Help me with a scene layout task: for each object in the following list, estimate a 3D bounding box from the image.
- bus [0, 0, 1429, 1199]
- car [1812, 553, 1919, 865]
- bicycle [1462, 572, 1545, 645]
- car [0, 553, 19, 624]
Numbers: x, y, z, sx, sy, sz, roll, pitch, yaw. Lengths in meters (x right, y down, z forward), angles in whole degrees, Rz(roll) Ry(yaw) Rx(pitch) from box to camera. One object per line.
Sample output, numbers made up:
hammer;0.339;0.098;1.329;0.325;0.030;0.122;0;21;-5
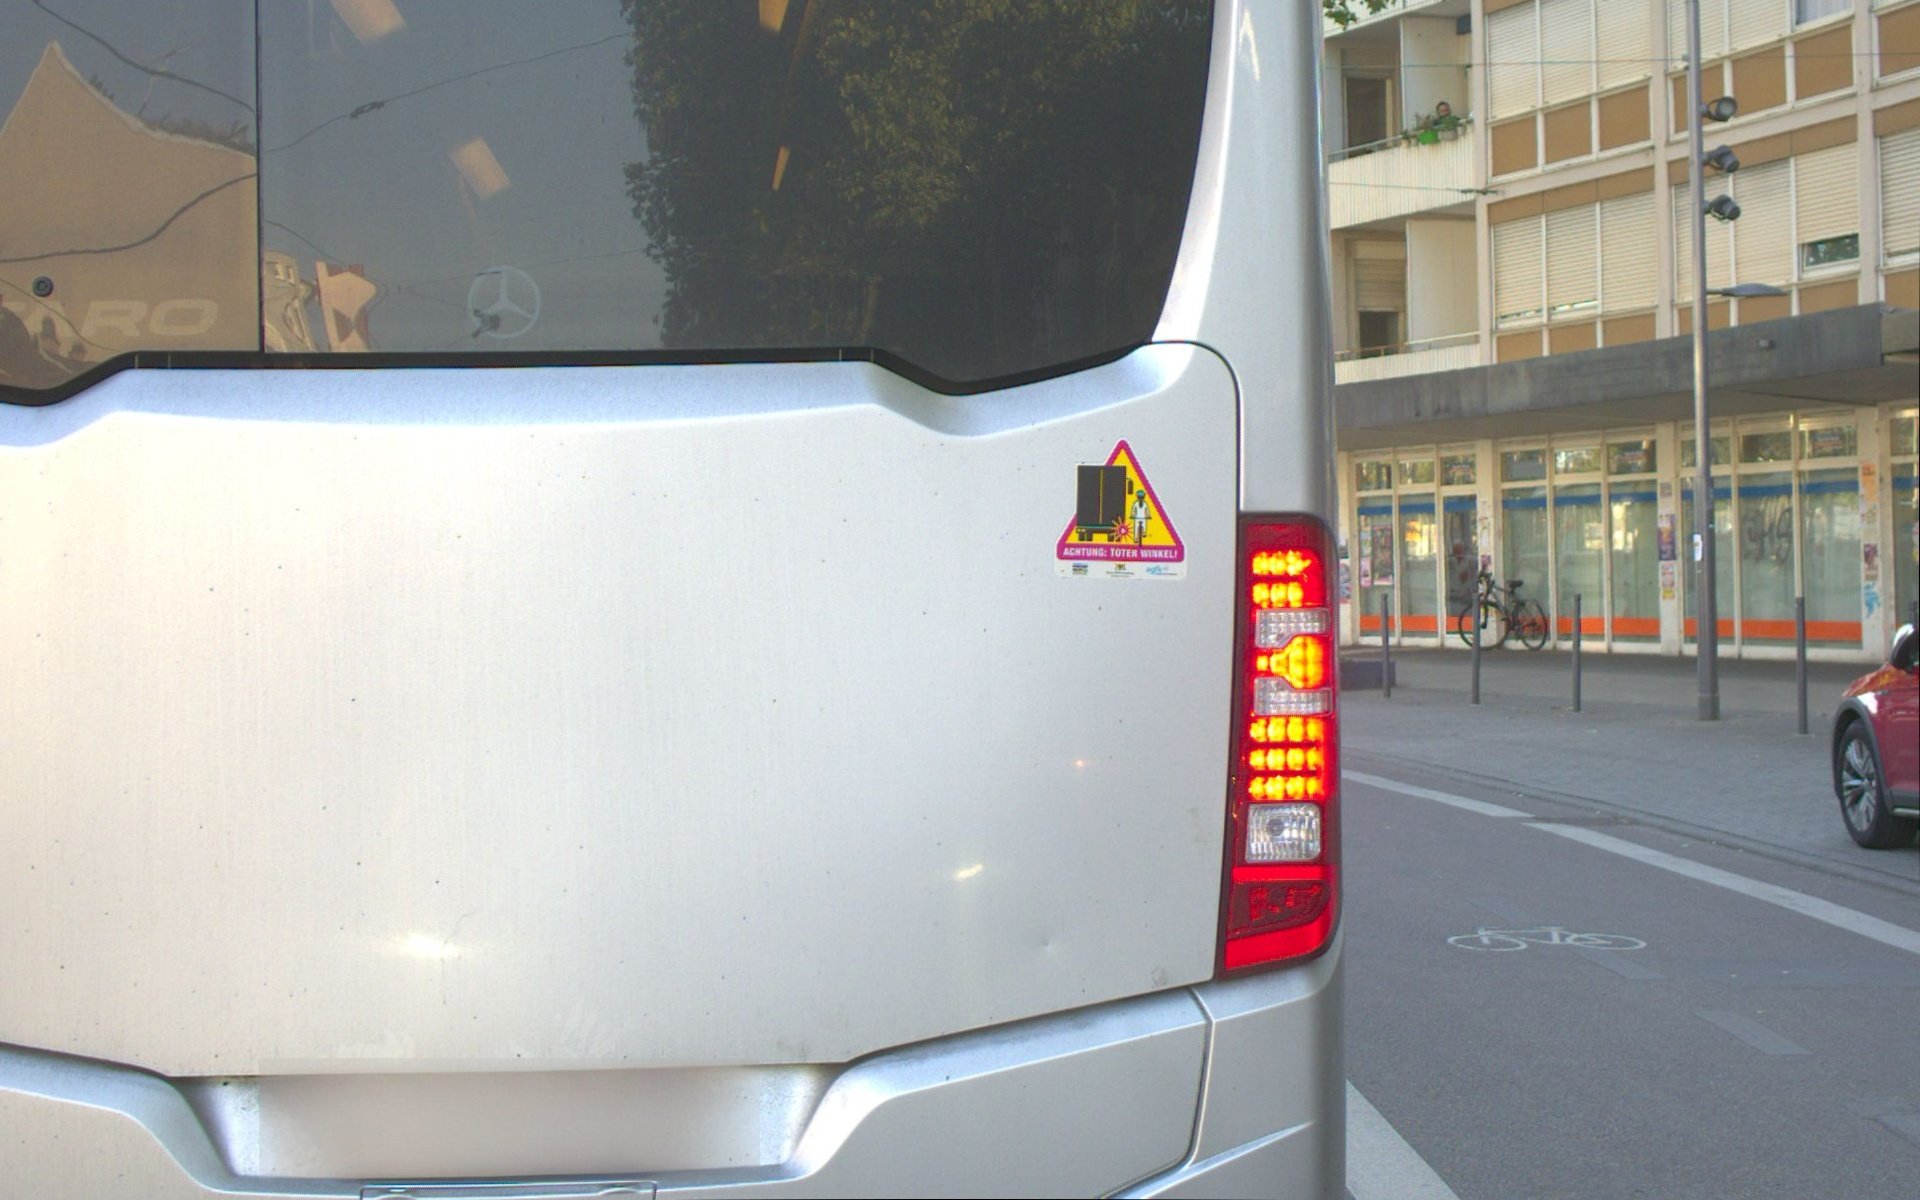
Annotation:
bus;-0.856;-0.142;9.827;2.630;3.017;9.998;0;1;-2
car;5.516;0.507;15.860;1.769;1.477;4.304;-2;1;-4
bicycle;7.190;0.108;45.545;0.412;0.941;1.441;-1;1;-20
car;-25.969;-0.315;88.197;1.994;1.785;3.998;1;0;-41
